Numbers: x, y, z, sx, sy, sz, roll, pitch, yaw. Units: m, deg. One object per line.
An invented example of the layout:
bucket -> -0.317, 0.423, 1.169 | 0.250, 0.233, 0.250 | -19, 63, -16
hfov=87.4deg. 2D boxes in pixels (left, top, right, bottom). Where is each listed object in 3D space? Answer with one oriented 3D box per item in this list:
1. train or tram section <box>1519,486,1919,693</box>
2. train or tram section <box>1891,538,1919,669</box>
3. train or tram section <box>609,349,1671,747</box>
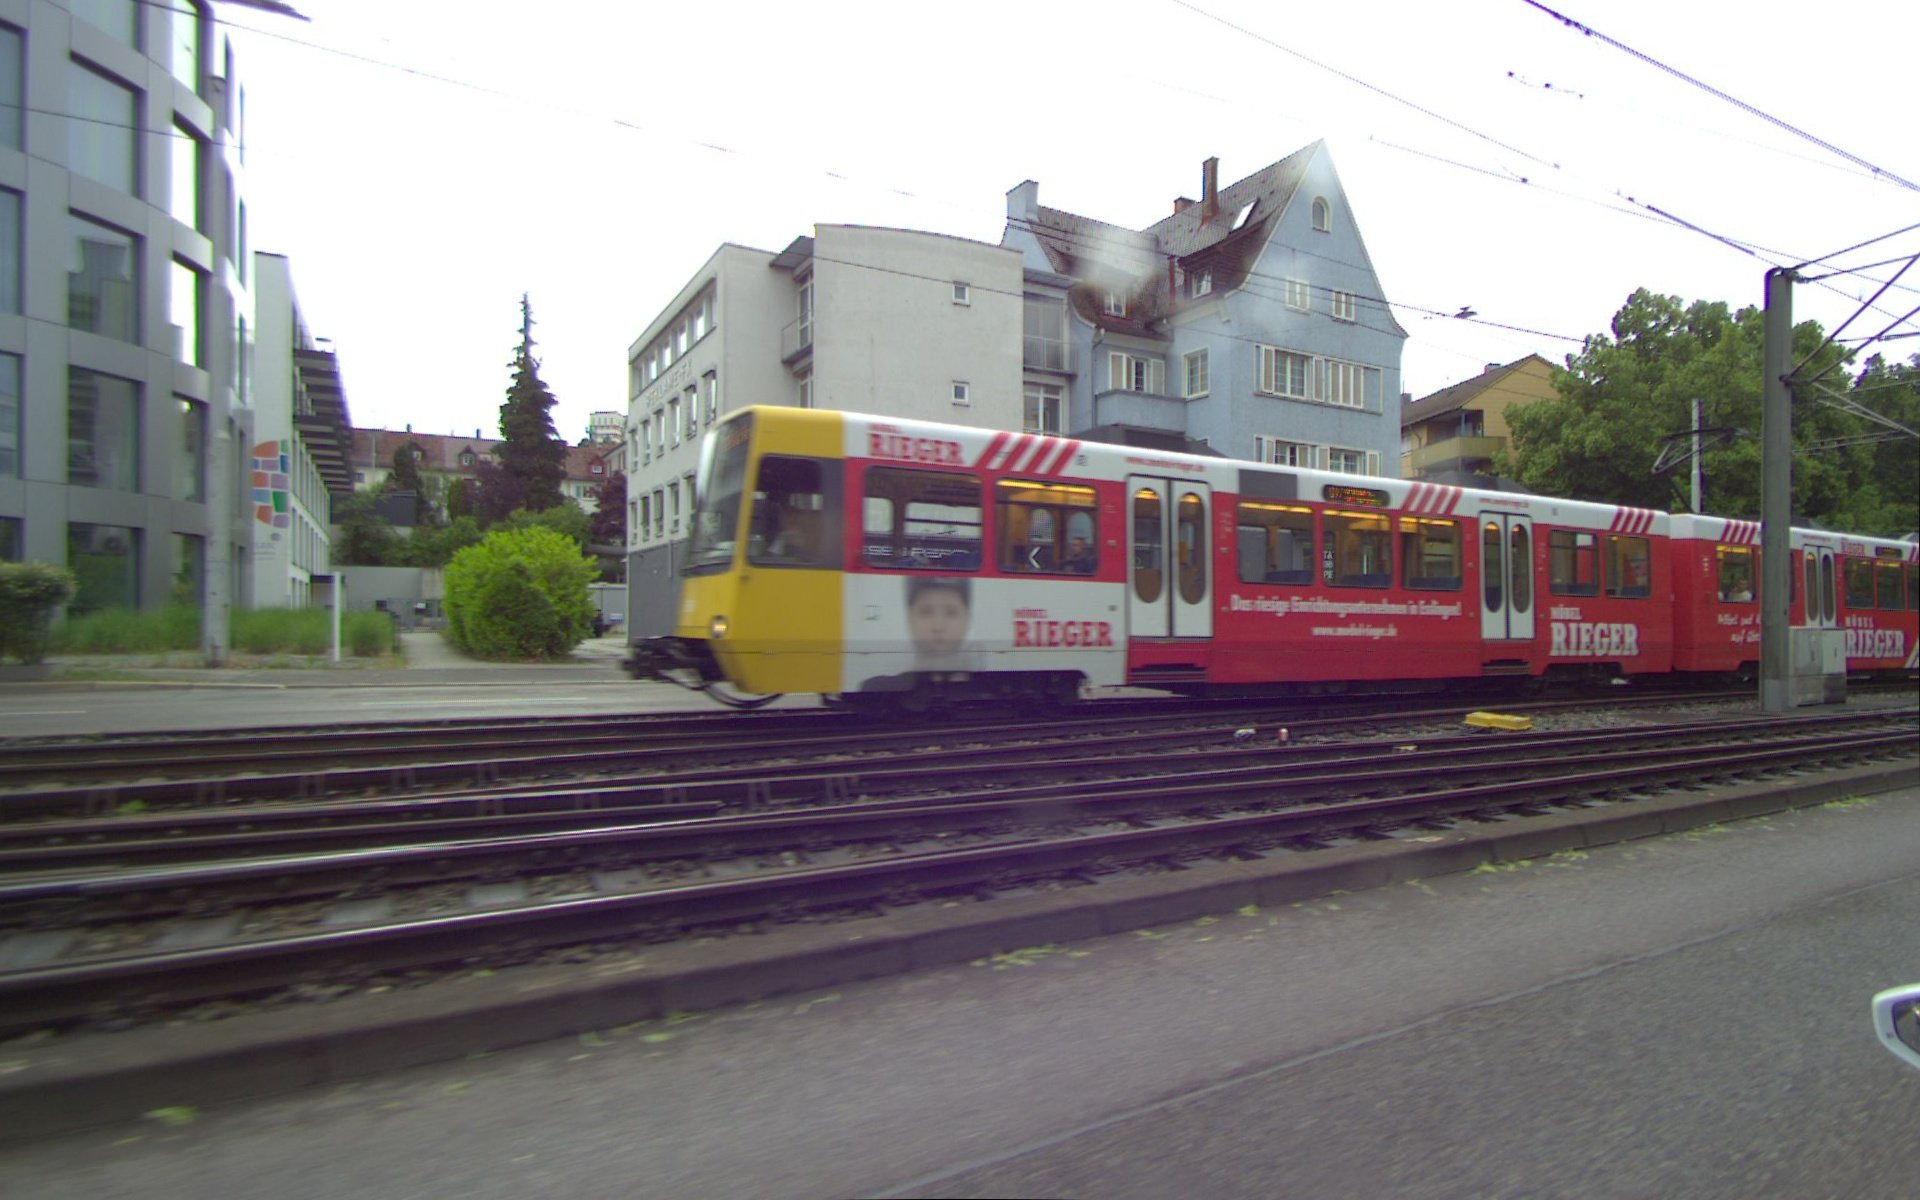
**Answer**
train or tram section -> 20.601, -0.041, 24.420 | 18.384, 3.861, 2.955 | 1, -1, -29
train or tram section -> 36.911, 0.257, 33.425 | 18.862, 3.861, 2.955 | 1, -1, -29
train or tram section -> 4.438, -0.358, 15.495 | 18.384, 3.861, 2.955 | 1, -1, -29
